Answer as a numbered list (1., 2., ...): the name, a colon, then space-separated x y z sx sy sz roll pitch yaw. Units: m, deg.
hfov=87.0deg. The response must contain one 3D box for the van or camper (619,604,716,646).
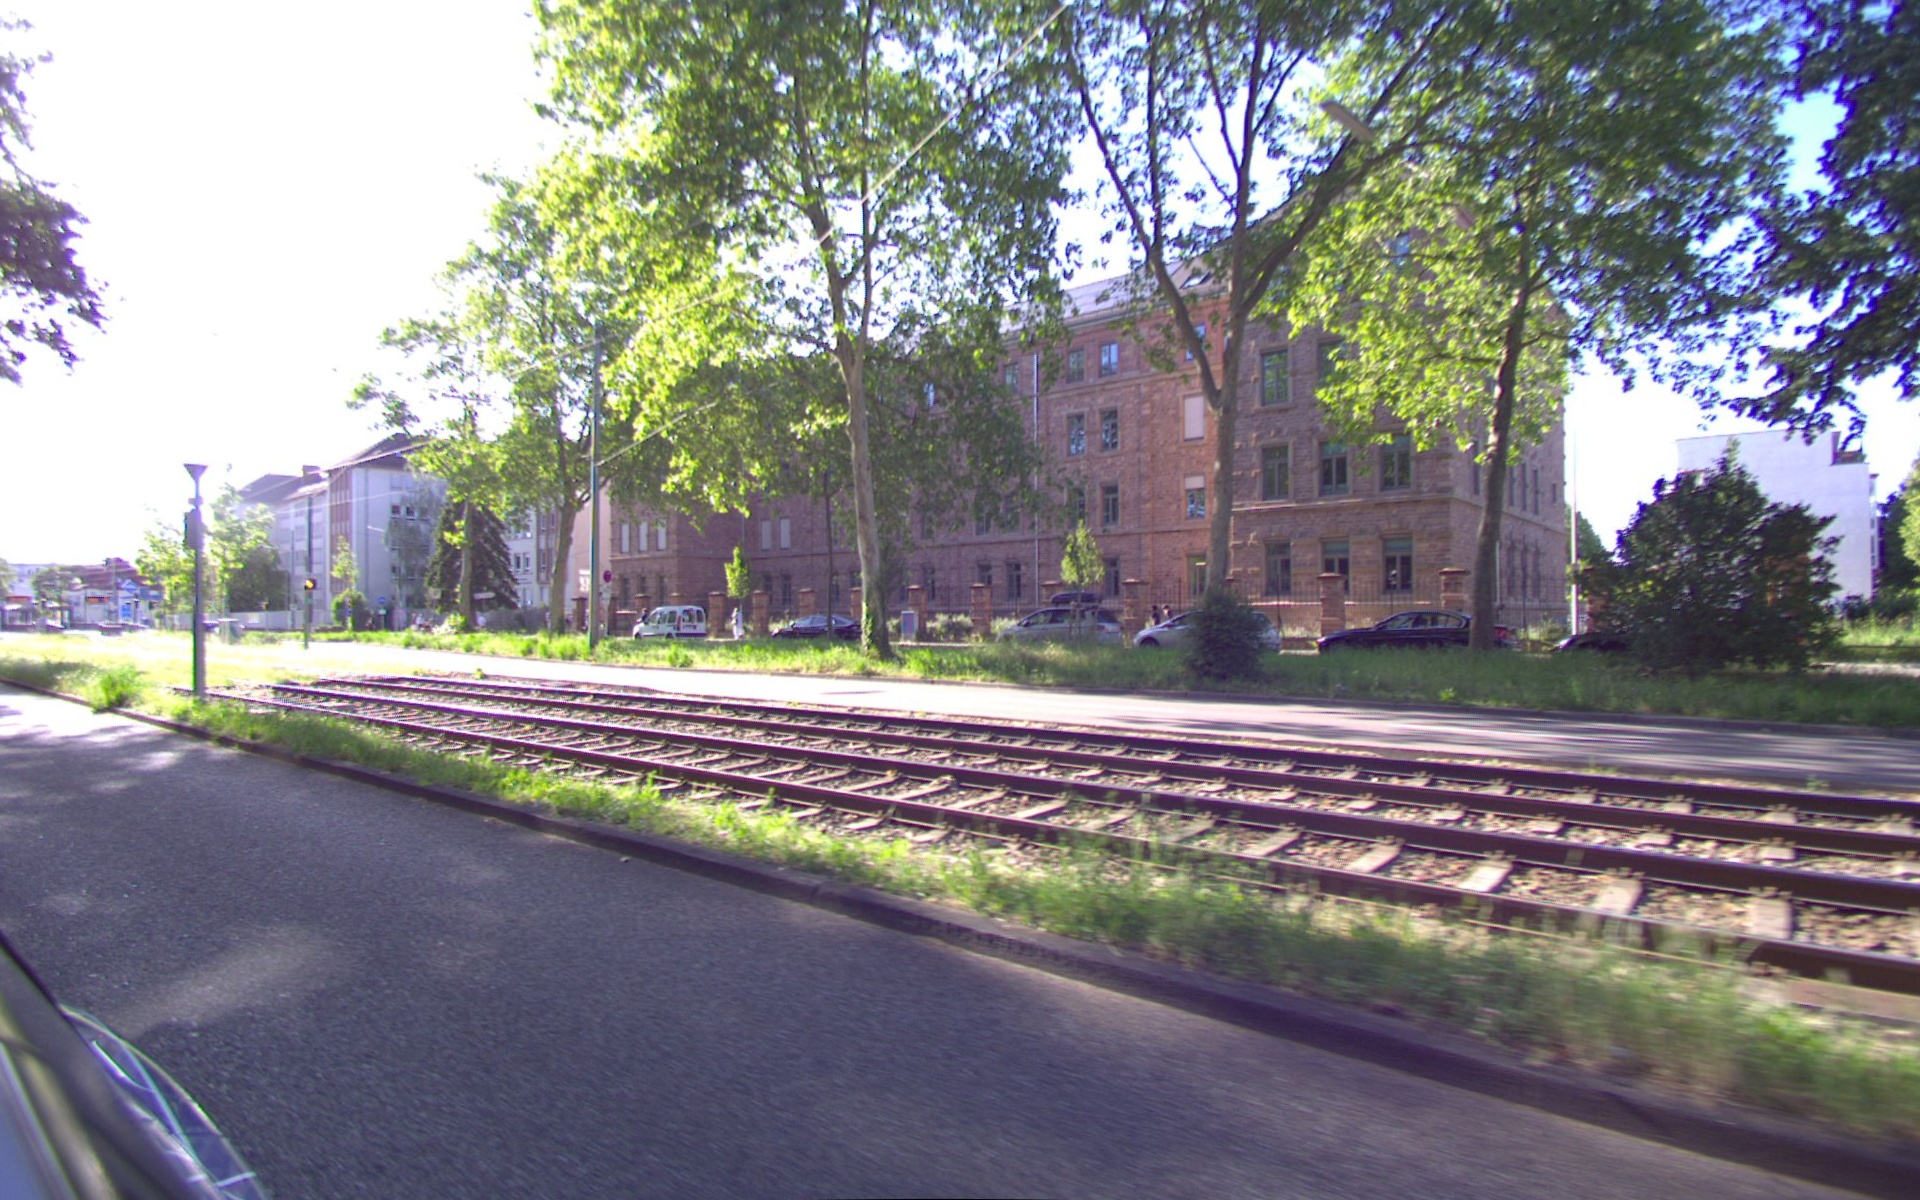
1. van or camper: -13.164 1.106 45.443 4.427 1.801 1.974 -1 -1 39

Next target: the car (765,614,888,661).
1. car: -5.125 1.395 38.450 4.824 1.662 1.973 -2 -1 41

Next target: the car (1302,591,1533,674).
1. car: 11.058 0.763 24.623 4.734 1.822 2.088 -2 -1 40

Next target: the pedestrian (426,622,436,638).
1. pedestrian: -37.788 2.124 72.282 0.586 1.108 0.439 -1 -1 36

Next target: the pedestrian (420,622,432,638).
1. pedestrian: -38.317 2.151 72.637 0.478 1.108 0.580 -2 -1 39

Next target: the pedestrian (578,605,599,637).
1. pedestrian: -23.003 1.290 62.640 0.941 1.914 0.891 -2 -1 41

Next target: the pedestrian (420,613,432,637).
1. pedestrian: -41.807 1.955 79.189 0.572 1.851 0.686 -1 -1 40

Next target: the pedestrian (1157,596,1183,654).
1. pedestrian: 7.495 0.895 36.119 0.626 2.029 0.707 -1 -1 41

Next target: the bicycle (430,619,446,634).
1. bicycle: -37.011 1.871 71.732 1.172 1.076 0.458 -1 -1 31

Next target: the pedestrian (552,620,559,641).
1. pedestrian: -32.264 2.436 80.646 0.371 1.708 0.449 0 -1 -44

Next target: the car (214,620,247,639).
1. car: -62.773 2.526 87.069 1.745 1.634 4.479 0 -1 -43

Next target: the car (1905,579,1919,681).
1. car: 19.601 0.491 17.375 4.733 1.822 2.088 -1 -1 39

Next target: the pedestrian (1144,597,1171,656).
1. pedestrian: 6.921 0.916 35.484 0.626 2.029 0.707 -1 -1 41

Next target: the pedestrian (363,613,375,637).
1. pedestrian: -49.961 2.109 85.527 0.859 2.029 0.656 -1 -1 40

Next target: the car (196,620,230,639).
1. car: -71.368 2.777 96.653 4.150 1.720 1.971 -1 -1 44

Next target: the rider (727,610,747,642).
1. rider: -11.682 1.341 53.022 0.686 1.657 0.721 -1 -1 41

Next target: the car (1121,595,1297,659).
1. car: 6.899 0.743 28.338 4.422 1.627 1.971 -2 -1 45

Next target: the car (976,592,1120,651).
1. car: 2.695 0.664 31.872 4.422 1.732 1.748 -2 -1 45

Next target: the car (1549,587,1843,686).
1. car: 15.154 0.728 21.083 4.733 1.822 2.088 -1 -1 39
